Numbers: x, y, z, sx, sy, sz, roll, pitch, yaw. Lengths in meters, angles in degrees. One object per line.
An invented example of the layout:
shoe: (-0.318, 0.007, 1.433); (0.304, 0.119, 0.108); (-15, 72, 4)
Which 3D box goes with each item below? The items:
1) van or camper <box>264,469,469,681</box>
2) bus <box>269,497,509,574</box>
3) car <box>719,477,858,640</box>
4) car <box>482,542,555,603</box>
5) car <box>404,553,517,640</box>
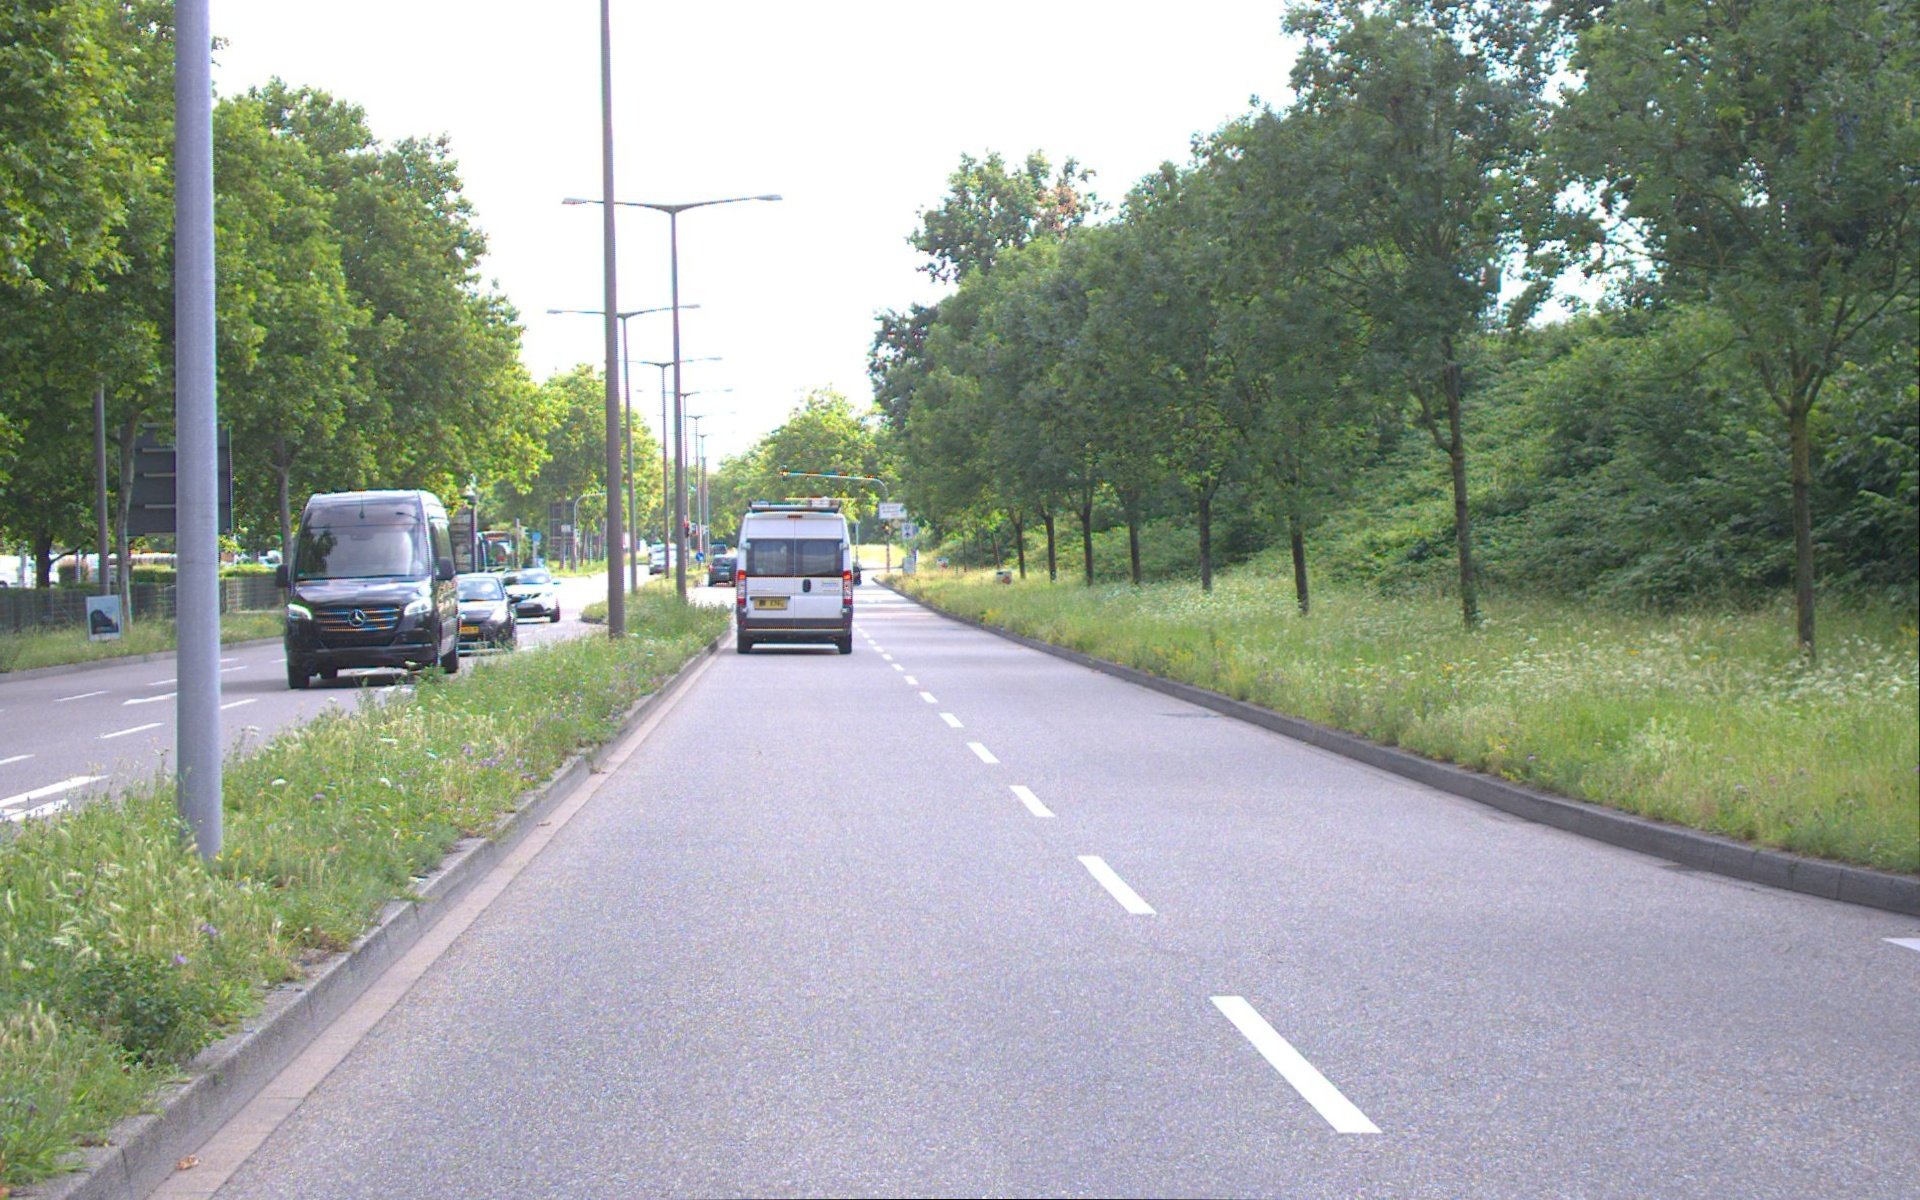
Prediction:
van or camper: (-8.042, -0.379, 47.194); (2.104, 2.650, 6.719); (-2, 1, -5)
bus: (-27.419, -3.072, 164.743); (12.319, 3.263, 3.114); (-1, 1, 33)
car: (-3.126, -0.792, 61.634); (2.197, 2.716, 4.933); (1, 3, -6)
car: (-12.719, -0.822, 99.173); (1.813, 1.634, 4.352); (-2, 1, -5)
car: (-8.872, -0.088, 61.301); (1.694, 1.459, 3.941); (-1, 1, -4)
